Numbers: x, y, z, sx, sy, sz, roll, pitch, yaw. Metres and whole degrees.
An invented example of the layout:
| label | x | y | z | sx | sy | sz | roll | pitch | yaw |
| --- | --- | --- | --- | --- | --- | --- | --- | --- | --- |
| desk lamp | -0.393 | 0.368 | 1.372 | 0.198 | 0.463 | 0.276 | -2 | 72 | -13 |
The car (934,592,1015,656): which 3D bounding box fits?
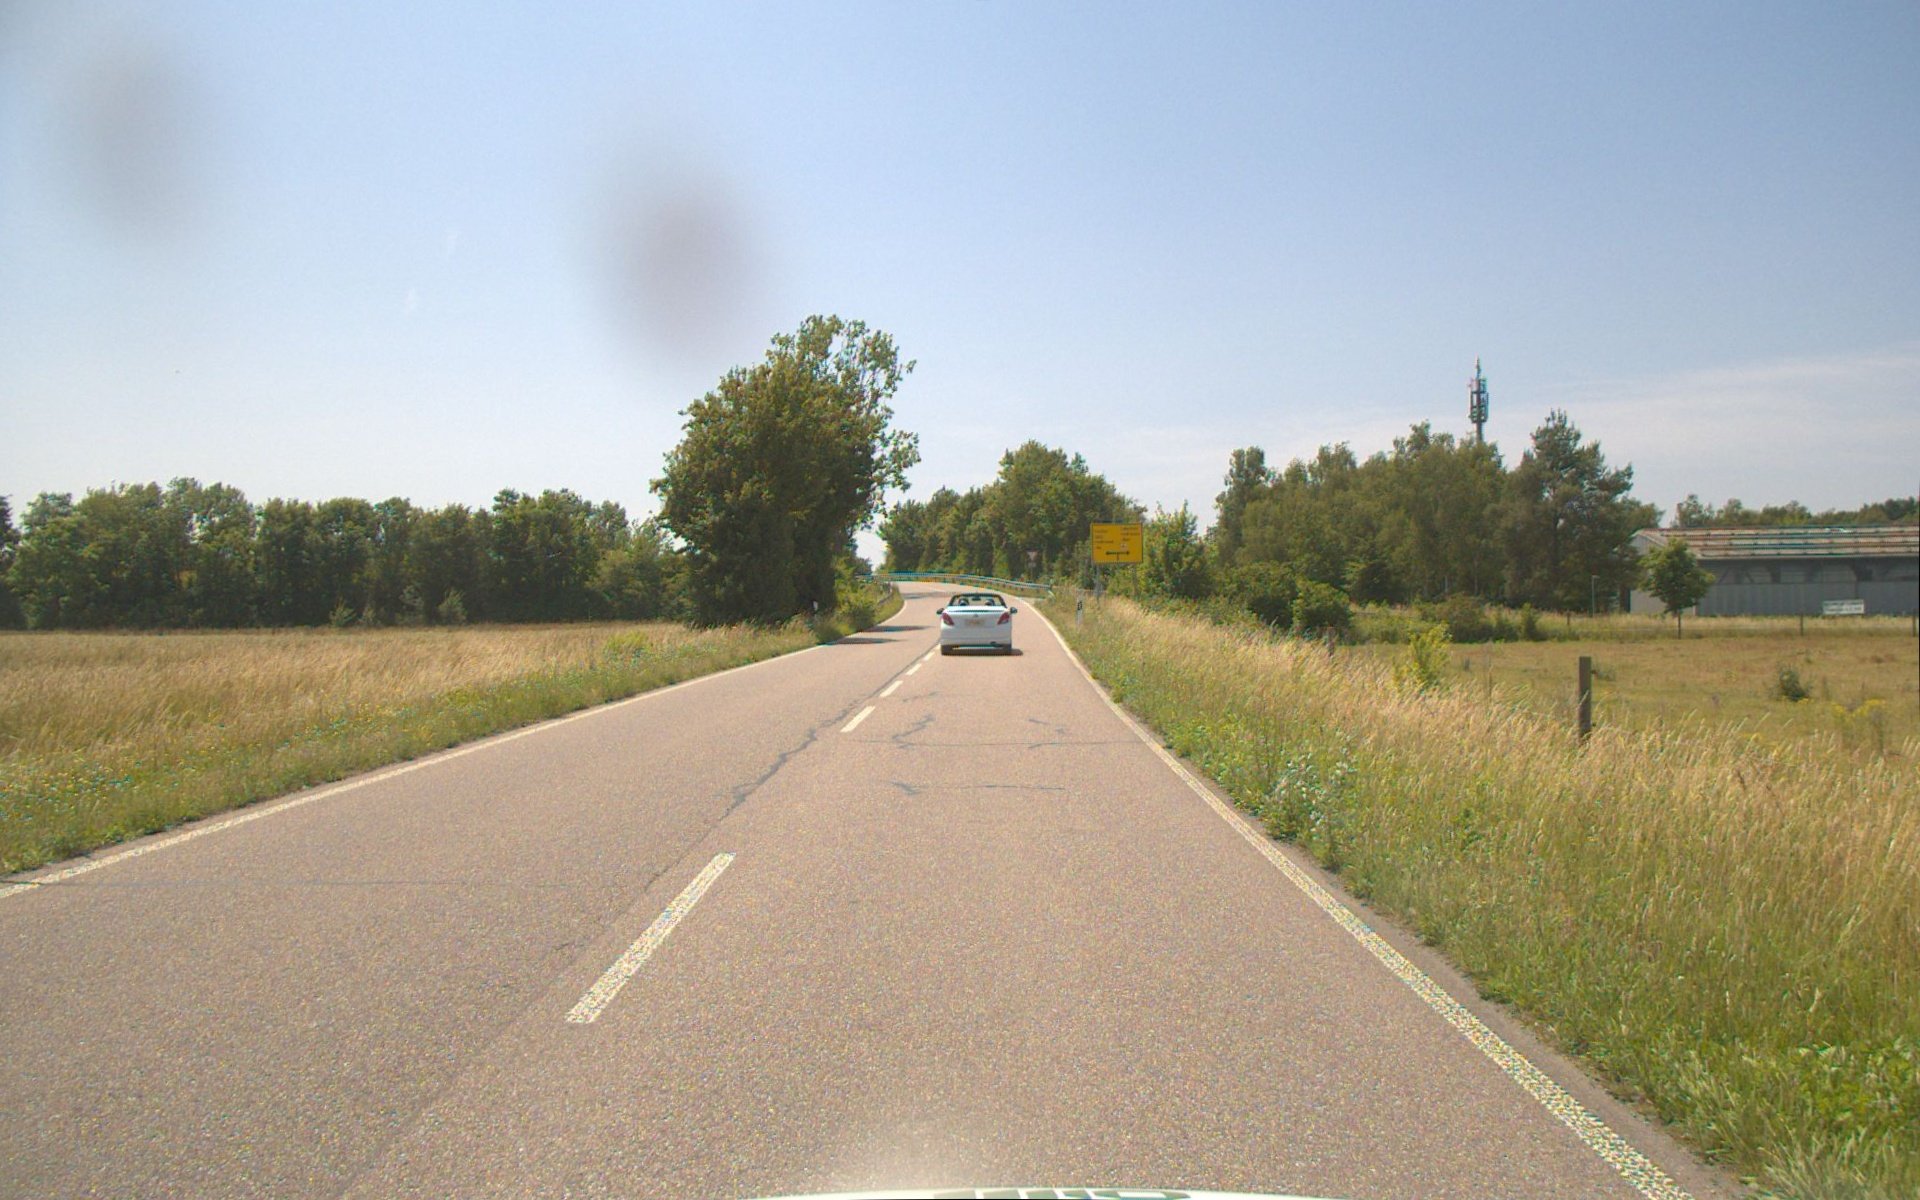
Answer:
| label | x | y | z | sx | sy | sz | roll | pitch | yaw |
| --- | --- | --- | --- | --- | --- | --- | --- | --- | --- |
| car | 0.322 | 0.535 | 39.575 | 1.813 | 1.403 | 4.000 | -1 | 1 | 0 |
